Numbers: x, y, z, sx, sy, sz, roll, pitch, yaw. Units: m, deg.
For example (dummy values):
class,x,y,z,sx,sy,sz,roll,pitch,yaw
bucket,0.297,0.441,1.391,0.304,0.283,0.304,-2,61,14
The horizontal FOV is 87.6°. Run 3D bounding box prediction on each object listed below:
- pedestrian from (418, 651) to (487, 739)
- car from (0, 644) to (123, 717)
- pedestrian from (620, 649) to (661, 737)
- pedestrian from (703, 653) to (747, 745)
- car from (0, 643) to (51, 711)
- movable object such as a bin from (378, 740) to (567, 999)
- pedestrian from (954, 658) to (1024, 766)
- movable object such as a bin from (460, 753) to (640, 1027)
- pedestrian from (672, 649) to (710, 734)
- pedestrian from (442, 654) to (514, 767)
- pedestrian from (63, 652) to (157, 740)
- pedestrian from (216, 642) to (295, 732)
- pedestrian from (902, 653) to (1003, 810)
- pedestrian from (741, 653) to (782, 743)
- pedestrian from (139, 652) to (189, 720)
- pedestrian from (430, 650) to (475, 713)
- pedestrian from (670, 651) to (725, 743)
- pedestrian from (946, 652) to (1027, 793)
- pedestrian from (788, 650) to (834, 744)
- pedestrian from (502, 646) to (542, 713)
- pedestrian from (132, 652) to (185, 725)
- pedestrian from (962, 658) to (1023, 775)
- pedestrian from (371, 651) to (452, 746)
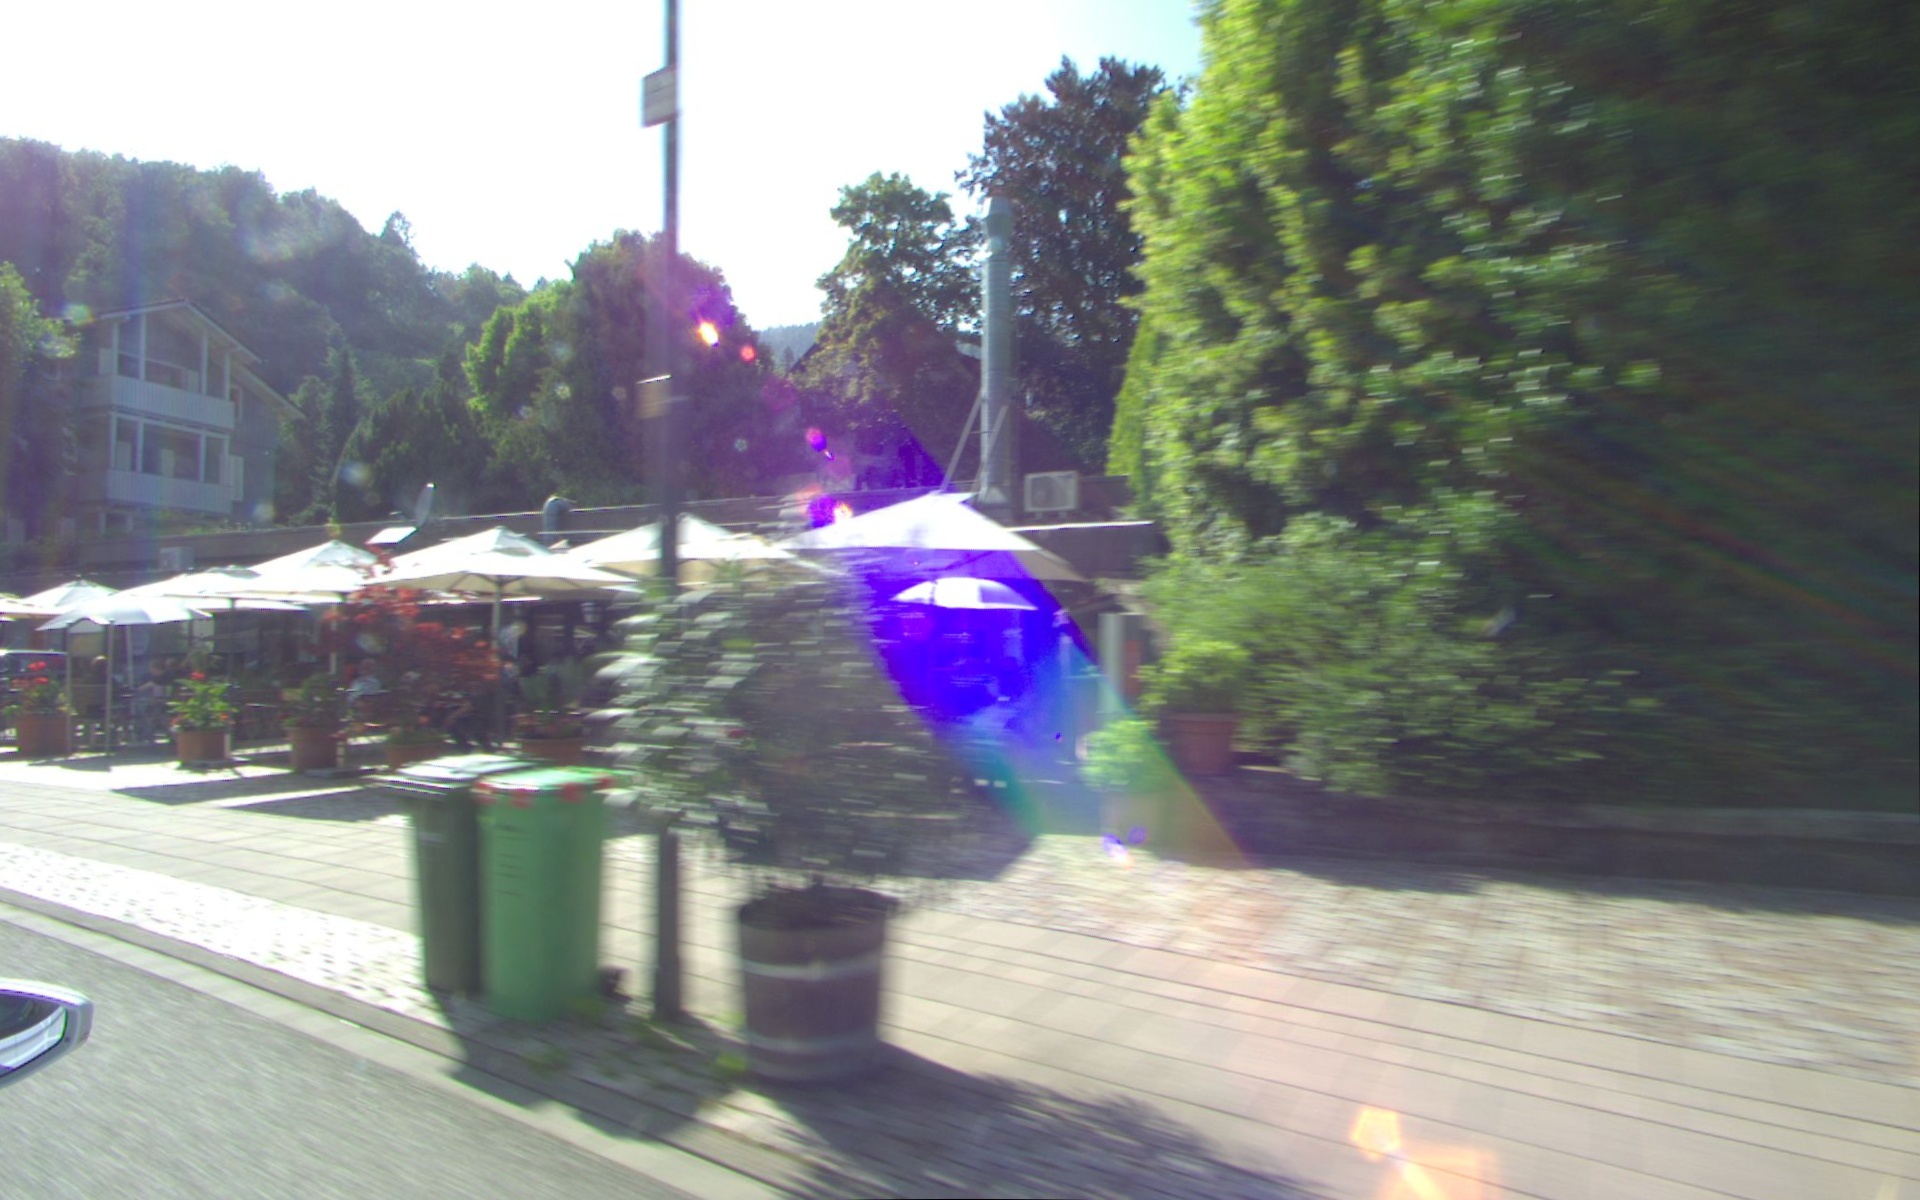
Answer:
class,x,y,z,sx,sy,sz,roll,pitch,yaw
pedestrian,-7.637,1.409,15.096,0.798,1.277,0.700,0,-1,-15
car,-19.174,1.555,19.388,1.680,1.396,4.269,-1,-3,21
pedestrian,-4.991,1.432,15.669,0.570,1.321,0.637,0,-1,-16
pedestrian,-3.356,1.400,14.289,0.432,1.281,0.469,0,-1,17
car,-21.570,1.611,20.467,1.718,1.432,4.115,-1,-3,21
movable object such as a bin,-2.095,1.117,4.324,0.512,0.937,0.547,0,-1,31
pedestrian,0.357,1.341,12.200,0.691,1.247,0.504,-1,-1,40
movable object such as a bin,-1.638,1.119,4.025,0.435,0.924,0.513,0,-1,31
pedestrian,-4.306,1.449,16.026,0.570,1.299,0.637,0,-1,-16
pedestrian,-5.628,1.279,11.708,0.582,1.261,0.473,-1,-1,4
pedestrian,-12.728,1.419,15.013,0.687,1.277,0.812,-1,-1,12
pedestrian,-11.238,1.374,15.996,0.797,1.399,0.700,0,-1,-10
pedestrian,-0.055,1.141,9.039,0.634,1.301,0.950,0,-1,19
pedestrian,-2.856,1.402,14.417,0.464,1.247,0.389,0,-1,-34
pedestrian,-15.541,1.667,19.543,0.693,1.277,0.805,1,-2,-43
pedestrian,-10.103,1.607,19.939,0.680,1.224,0.695,1,-2,-38
pedestrian,-3.889,1.421,14.875,0.598,1.321,0.530,0,-1,18
pedestrian,0.266,1.170,9.816,0.634,1.301,0.648,0,-1,19
pedestrian,-2.093,1.354,14.093,0.501,1.284,0.407,-1,-1,31
pedestrian,-8.847,1.583,20.209,0.678,1.316,0.634,1,-1,-30
pedestrian,-14.668,1.603,18.330,0.693,1.277,0.805,1,-2,-43
pedestrian,0.363,1.288,11.265,0.500,1.254,0.594,0,-1,-20
pedestrian,-7.735,1.366,14.125,0.692,1.277,0.806,-1,-2,39
